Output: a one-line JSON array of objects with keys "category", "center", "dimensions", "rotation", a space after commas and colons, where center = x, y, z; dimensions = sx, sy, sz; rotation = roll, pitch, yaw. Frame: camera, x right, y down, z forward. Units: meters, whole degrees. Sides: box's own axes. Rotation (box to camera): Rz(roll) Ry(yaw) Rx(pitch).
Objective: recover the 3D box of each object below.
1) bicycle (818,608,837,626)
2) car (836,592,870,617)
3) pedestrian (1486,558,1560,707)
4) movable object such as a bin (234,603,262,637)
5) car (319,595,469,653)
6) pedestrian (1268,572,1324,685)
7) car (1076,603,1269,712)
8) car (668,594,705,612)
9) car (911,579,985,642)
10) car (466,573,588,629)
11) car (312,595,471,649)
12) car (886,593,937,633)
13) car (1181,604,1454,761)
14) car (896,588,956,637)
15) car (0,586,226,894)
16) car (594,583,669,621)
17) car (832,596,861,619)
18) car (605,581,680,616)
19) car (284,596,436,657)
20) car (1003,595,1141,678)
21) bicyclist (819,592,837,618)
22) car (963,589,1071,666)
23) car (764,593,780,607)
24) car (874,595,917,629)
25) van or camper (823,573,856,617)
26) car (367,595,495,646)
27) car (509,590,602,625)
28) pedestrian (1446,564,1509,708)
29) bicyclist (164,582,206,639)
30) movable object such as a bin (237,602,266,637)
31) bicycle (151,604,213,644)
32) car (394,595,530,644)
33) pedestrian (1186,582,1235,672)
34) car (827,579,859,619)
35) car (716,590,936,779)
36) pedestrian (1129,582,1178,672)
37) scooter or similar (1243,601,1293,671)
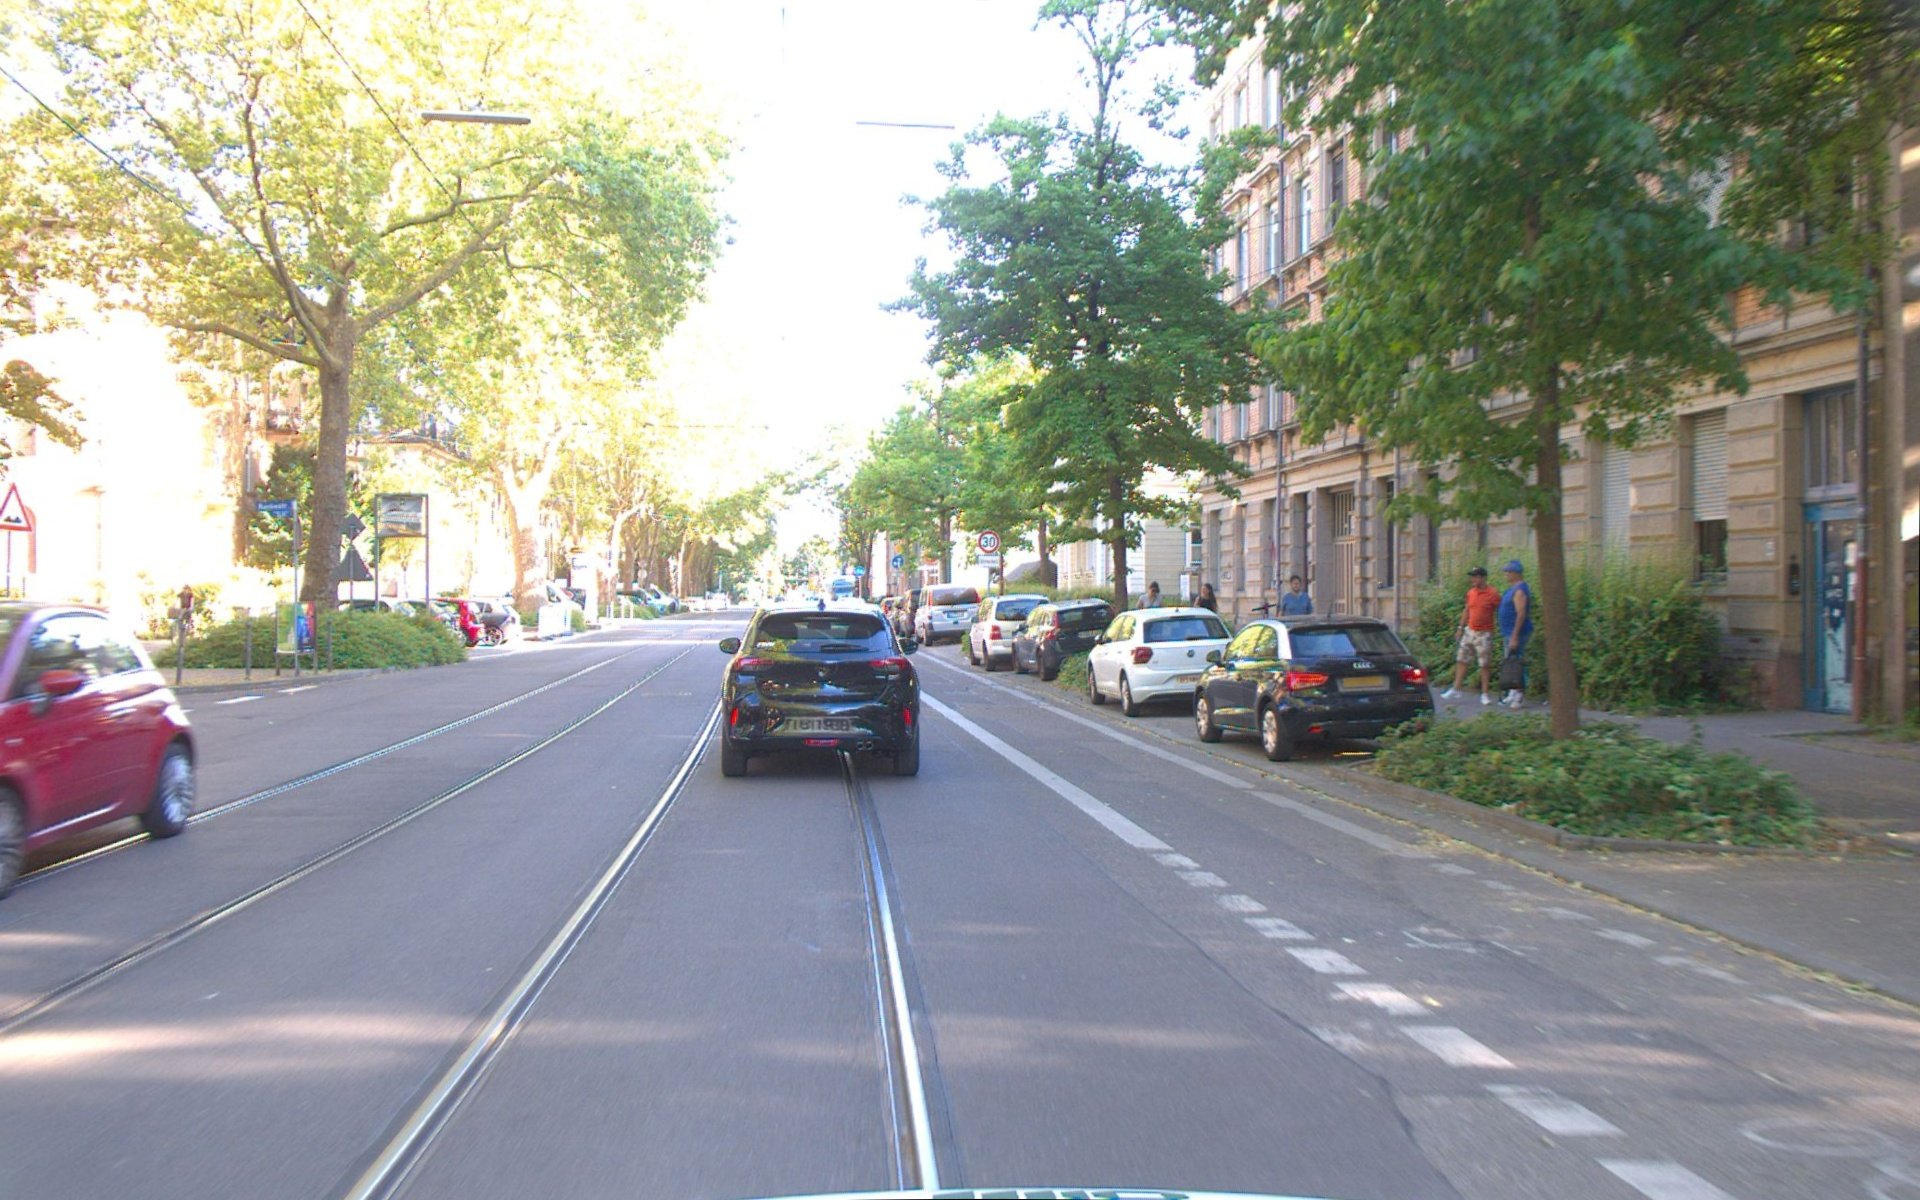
[{"category": "bicycle", "center": [-7.670, 0.984, 95.769], "dimensions": [0.949, 1.016, 2.578], "rotation": [1, 0, -8]}, {"category": "car", "center": [-6.683, 0.263, 103.037], "dimensions": [1.848, 1.459, 4.523], "rotation": [-2, 0, -7]}, {"category": "pedestrian", "center": [7.071, 0.402, 20.799], "dimensions": [0.587, 1.824, 0.727], "rotation": [1, 0, -9]}, {"category": "movable object such as a bin", "center": [-23.556, 0.656, 54.730], "dimensions": [0.710, 1.129, 0.542], "rotation": [1, 0, -5]}, {"category": "car", "center": [-15.473, 0.649, 45.339], "dimensions": [3.531, 1.490, 1.685], "rotation": [1, 0, -5]}, {"category": "pedestrian", "center": [5.497, 0.464, 27.088], "dimensions": [0.712, 1.824, 0.599], "rotation": [1, -1, -9]}, {"category": "car", "center": [3.022, 0.771, 24.398], "dimensions": [1.848, 1.391, 4.101], "rotation": [-2, 0, -7]}, {"category": "car", "center": [-31.859, 0.365, 192.876], "dimensions": [3.905, 2.049, 2.000], "rotation": [1, 0, 0]}, {"category": "car", "center": [-0.456, 0.321, 54.038], "dimensions": [1.848, 1.883, 4.960], "rotation": [-2, 0, -7]}, {"category": "car", "center": [-18.904, 0.044, 72.422], "dimensions": [4.941, 2.299, 2.081], "rotation": [1, 0, -10]}, {"category": "car", "center": [-16.443, 0.633, 48.004], "dimensions": [4.002, 1.490, 1.819], "rotation": [1, 0, -5]}, {"category": "car", "center": [-2.057, 0.528, 68.731], "dimensions": [1.680, 1.540, 4.029], "rotation": [-2, 0, -8]}, {"category": "car", "center": [3.730, 0.800, 17.944], "dimensions": [1.641, 1.437, 3.836], "rotation": [-2, 0, -8]}, {"category": "car", "center": [-1.337, 0.461, 62.959], "dimensions": [1.849, 1.797, 4.671], "rotation": [0, 0, -7]}, {"category": "car", "center": [-5.545, 0.686, 9.218], "dimensions": [1.629, 1.469, 3.469], "rotation": [-1, 0, -6]}, {"category": "car", "center": [-23.412, 0.113, 118.068], "dimensions": [4.940, 2.415, 2.078], "rotation": [-3, 0, -7]}, {"category": "car", "center": [-7.772, 0.542, 113.322], "dimensions": [1.769, 1.459, 3.994], "rotation": [-1, -1, -7]}, {"category": "car", "center": [-25.065, -0.121, 130.658], "dimensions": [5.526, 2.638, 2.195], "rotation": [1, 0, -3]}, {"category": "car", "center": [-15.520, 0.682, 42.918], "dimensions": [3.352, 1.490, 1.695], "rotation": [1, 0, -5]}, {"category": "car", "center": [2.201, 0.696, 33.712], "dimensions": [1.849, 1.492, 4.585], "rotation": [-2, 0, -8]}, {"category": "bicyclist", "center": [-7.660, 0.289, 95.751], "dimensions": [0.940, 1.525, 1.092], "rotation": [1, 0, -8]}, {"category": "car", "center": [1.268, 0.603, 38.471], "dimensions": [1.848, 1.595, 4.236], "rotation": [-2, 0, -7]}, {"category": "car", "center": [-26.158, -0.012, 230.312], "dimensions": [2.211, 1.873, 5.523], "rotation": [-1, 0, -6]}, {"category": "car", "center": [-3.041, 0.564, 77.509], "dimensions": [1.670, 1.448, 3.972], "rotation": [-3, 0, -7]}, {"category": "van or camper", "center": [-9.288, -0.396, 126.991], "dimensions": [2.211, 3.272, 5.523], "rotation": [-1, 0, -7]}, {"category": "car", "center": [-16.073, 0.615, 50.396], "dimensions": [3.352, 1.490, 1.758], "rotation": [1, 0, -5]}, {"category": "car", "center": [-19.777, 0.383, 80.998], "dimensions": [4.220, 1.635, 1.922], "rotation": [1, 0, -9]}, {"category": "pedestrian", "center": [6.717, 0.459, 21.470], "dimensions": [0.588, 1.824, 0.726], "rotation": [1, -1, 34]}, {"category": "bicyclist", "center": [-21.128, 0.276, 45.089], "dimensions": [0.786, 1.533, 1.113], "rotation": [1, 0, -13]}, {"category": "movable object such as a bin", "center": [-23.681, 0.654, 55.294], "dimensions": [0.709, 1.129, 0.560], "rotation": [1, 0, -5]}, {"category": "bicycle", "center": [-21.100, 0.635, 44.933], "dimensions": [0.951, 1.016, 2.575], "rotation": [1, 0, -12]}, {"category": "car", "center": [-15.996, 0.610, 53.270], "dimensions": [3.911, 1.490, 1.851], "rotation": [1, 0, -7]}, {"category": "pedestrian", "center": [4.953, 0.526, 32.718], "dimensions": [0.713, 1.739, 0.854], "rotation": [1, 0, -10]}, {"category": "car", "center": [-8.529, -0.123, 120.479], "dimensions": [2.045, 2.820, 4.691], "rotation": [-1, 1, -7]}, {"category": "car", "center": [-1.273, 0.683, 15.145], "dimensions": [1.729, 1.486, 3.945], "rotation": [1, 0, -6]}, {"category": "pedestrian", "center": [3.816, 0.527, 32.656], "dimensions": [0.712, 1.722, 0.955], "rotation": [1, 0, -8]}, {"category": "scooter or similar", "center": [5.759, 0.665, 31.009], "dimensions": [0.564, 1.268, 1.333], "rotation": [1, 0, -5]}]
